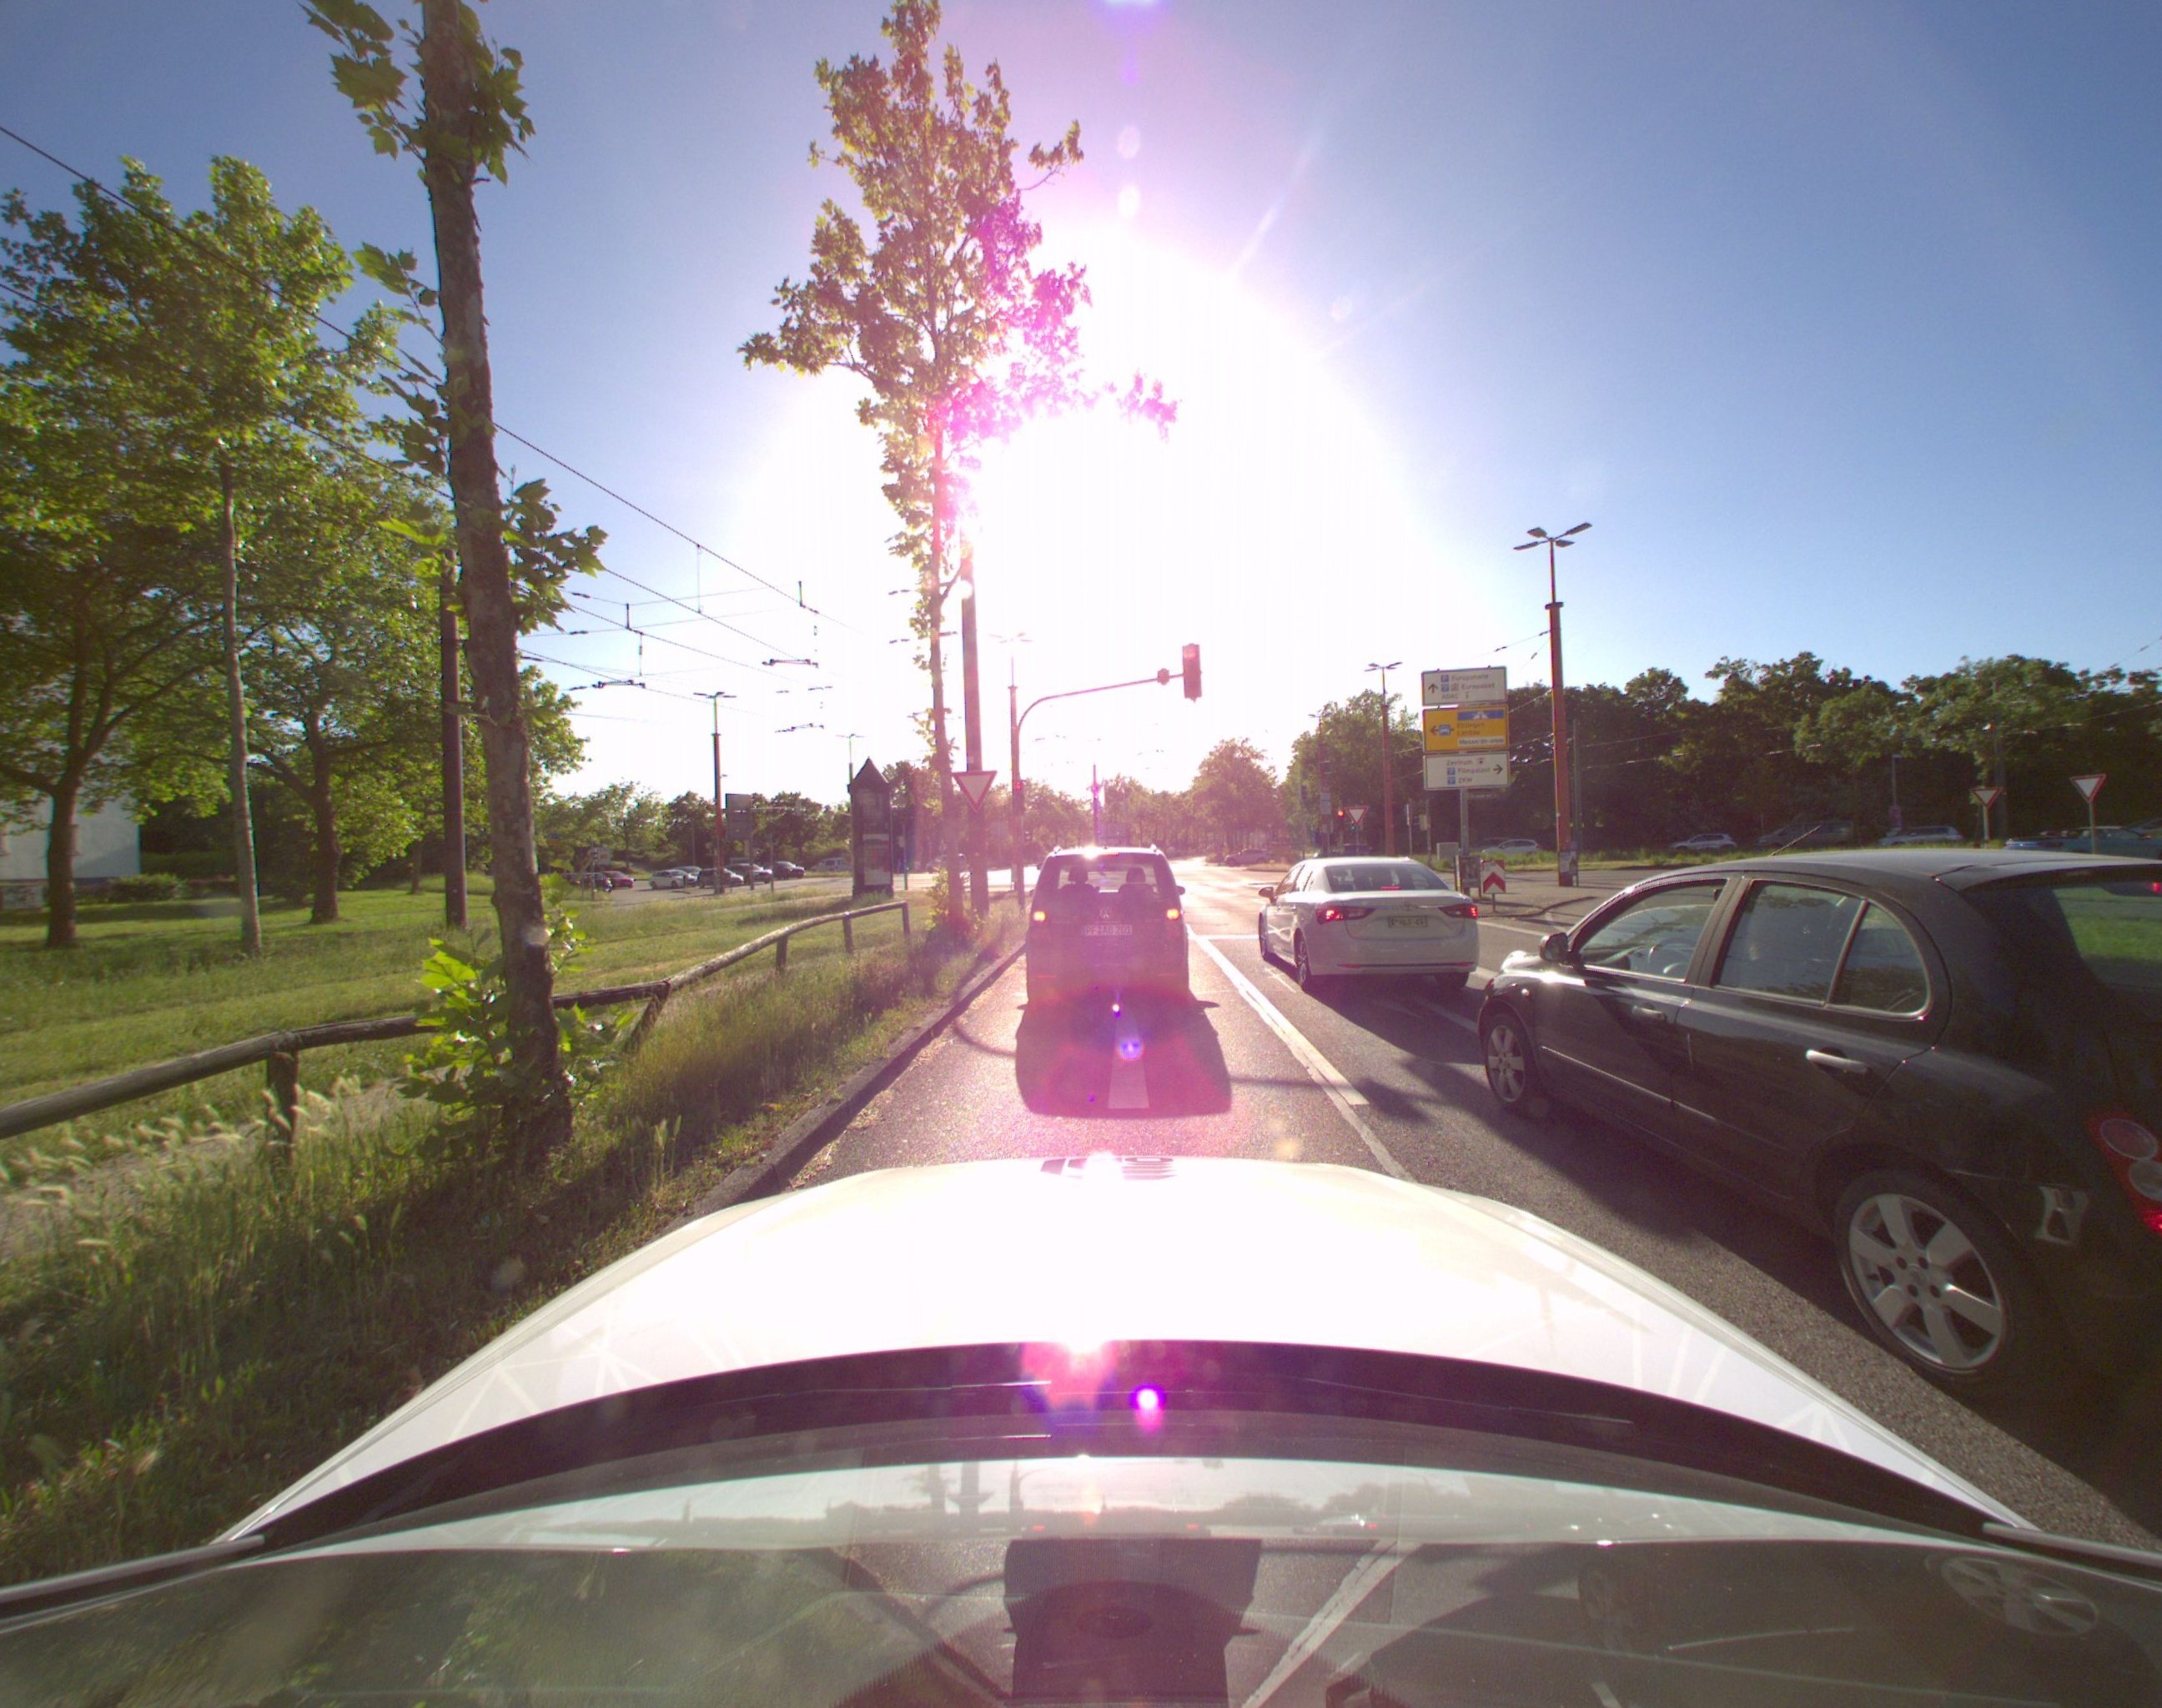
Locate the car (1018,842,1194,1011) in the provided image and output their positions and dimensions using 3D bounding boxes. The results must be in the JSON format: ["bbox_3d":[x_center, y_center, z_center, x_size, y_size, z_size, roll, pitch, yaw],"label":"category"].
[{"bbox_3d":[0.301,0.711,9.919,1.694,1.621,3.898,-1,0,1],"label":"car"}]

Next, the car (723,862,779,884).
[{"bbox_3d":[-26.429,1.550,65.276,3.950,1.644,2.012,-2,0,26],"label":"car"}]

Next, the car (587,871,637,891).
[{"bbox_3d":[-39.321,2.254,68.203,3.949,1.513,1.743,-2,0,27],"label":"car"}]

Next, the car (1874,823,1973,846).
[{"bbox_3d":[49.908,-1.141,48.335,3.792,1.264,1.613,0,-1,28],"label":"car"}]

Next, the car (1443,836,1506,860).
[{"bbox_3d":[29.384,-0.463,60.779,4.080,1.644,1.864,-2,0,29],"label":"car"}]

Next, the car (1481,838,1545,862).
[{"bbox_3d":[29.645,-0.283,55.897,3.783,1.523,1.706,-2,0,29],"label":"car"}]

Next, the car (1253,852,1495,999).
[{"bbox_3d":[3.334,0.710,10.143,1.713,1.438,4.202,-1,0,3],"label":"car"}]

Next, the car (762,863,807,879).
[{"bbox_3d":[-26.519,1.487,72.844,3.948,1.330,1.709,-2,0,33],"label":"car"}]

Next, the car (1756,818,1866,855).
[{"bbox_3d":[43.282,-1.020,48.428,4.526,2.013,2.013,-2,0,32],"label":"car"}]

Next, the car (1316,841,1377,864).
[{"bbox_3d":[19.987,-0.077,61.325,4.080,1.598,1.840,-2,0,29],"label":"car"}]

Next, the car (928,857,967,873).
[{"bbox_3d":[-13.556,1.133,82.924,3.608,1.655,1.690,0,-1,27],"label":"car"}]

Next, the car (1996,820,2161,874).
[{"bbox_3d":[32.100,-0.250,25.844,4.102,1.450,1.741,-3,2,2],"label":"car"}]

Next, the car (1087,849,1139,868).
[{"bbox_3d":[2.795,0.399,70.546,4.139,1.644,1.770,0,-1,28],"label":"car"}]

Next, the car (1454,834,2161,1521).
[{"bbox_3d":[3.223,0.698,3.569,1.647,1.500,3.617,-1,0,2],"label":"car"}]

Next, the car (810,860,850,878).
[{"bbox_3d":[-26.311,1.581,85.446,3.797,1.890,1.774,0,-1,25],"label":"car"}]

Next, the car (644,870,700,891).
[{"bbox_3d":[-32.507,2.105,64.679,4.135,1.612,1.880,-2,0,27],"label":"car"}]

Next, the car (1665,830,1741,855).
[{"bbox_3d":[40.690,-0.747,53.356,3.700,1.473,1.610,-2,0,28],"label":"car"}]

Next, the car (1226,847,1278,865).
[{"bbox_3d":[14.293,0.176,68.160,3.926,1.441,1.697,0,-1,29],"label":"car"}]

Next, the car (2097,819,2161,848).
[{"bbox_3d":[54.925,-1.066,41.654,3.361,1.457,1.474,-2,0,30],"label":"car"}]

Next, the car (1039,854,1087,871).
[{"bbox_3d":[-1.711,0.803,76.824,4.082,1.511,1.834,0,-1,28],"label":"car"}]

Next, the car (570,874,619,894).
[{"bbox_3d":[-36.318,2.248,60.808,2.814,1.390,1.815,-2,0,25],"label":"car"}]
